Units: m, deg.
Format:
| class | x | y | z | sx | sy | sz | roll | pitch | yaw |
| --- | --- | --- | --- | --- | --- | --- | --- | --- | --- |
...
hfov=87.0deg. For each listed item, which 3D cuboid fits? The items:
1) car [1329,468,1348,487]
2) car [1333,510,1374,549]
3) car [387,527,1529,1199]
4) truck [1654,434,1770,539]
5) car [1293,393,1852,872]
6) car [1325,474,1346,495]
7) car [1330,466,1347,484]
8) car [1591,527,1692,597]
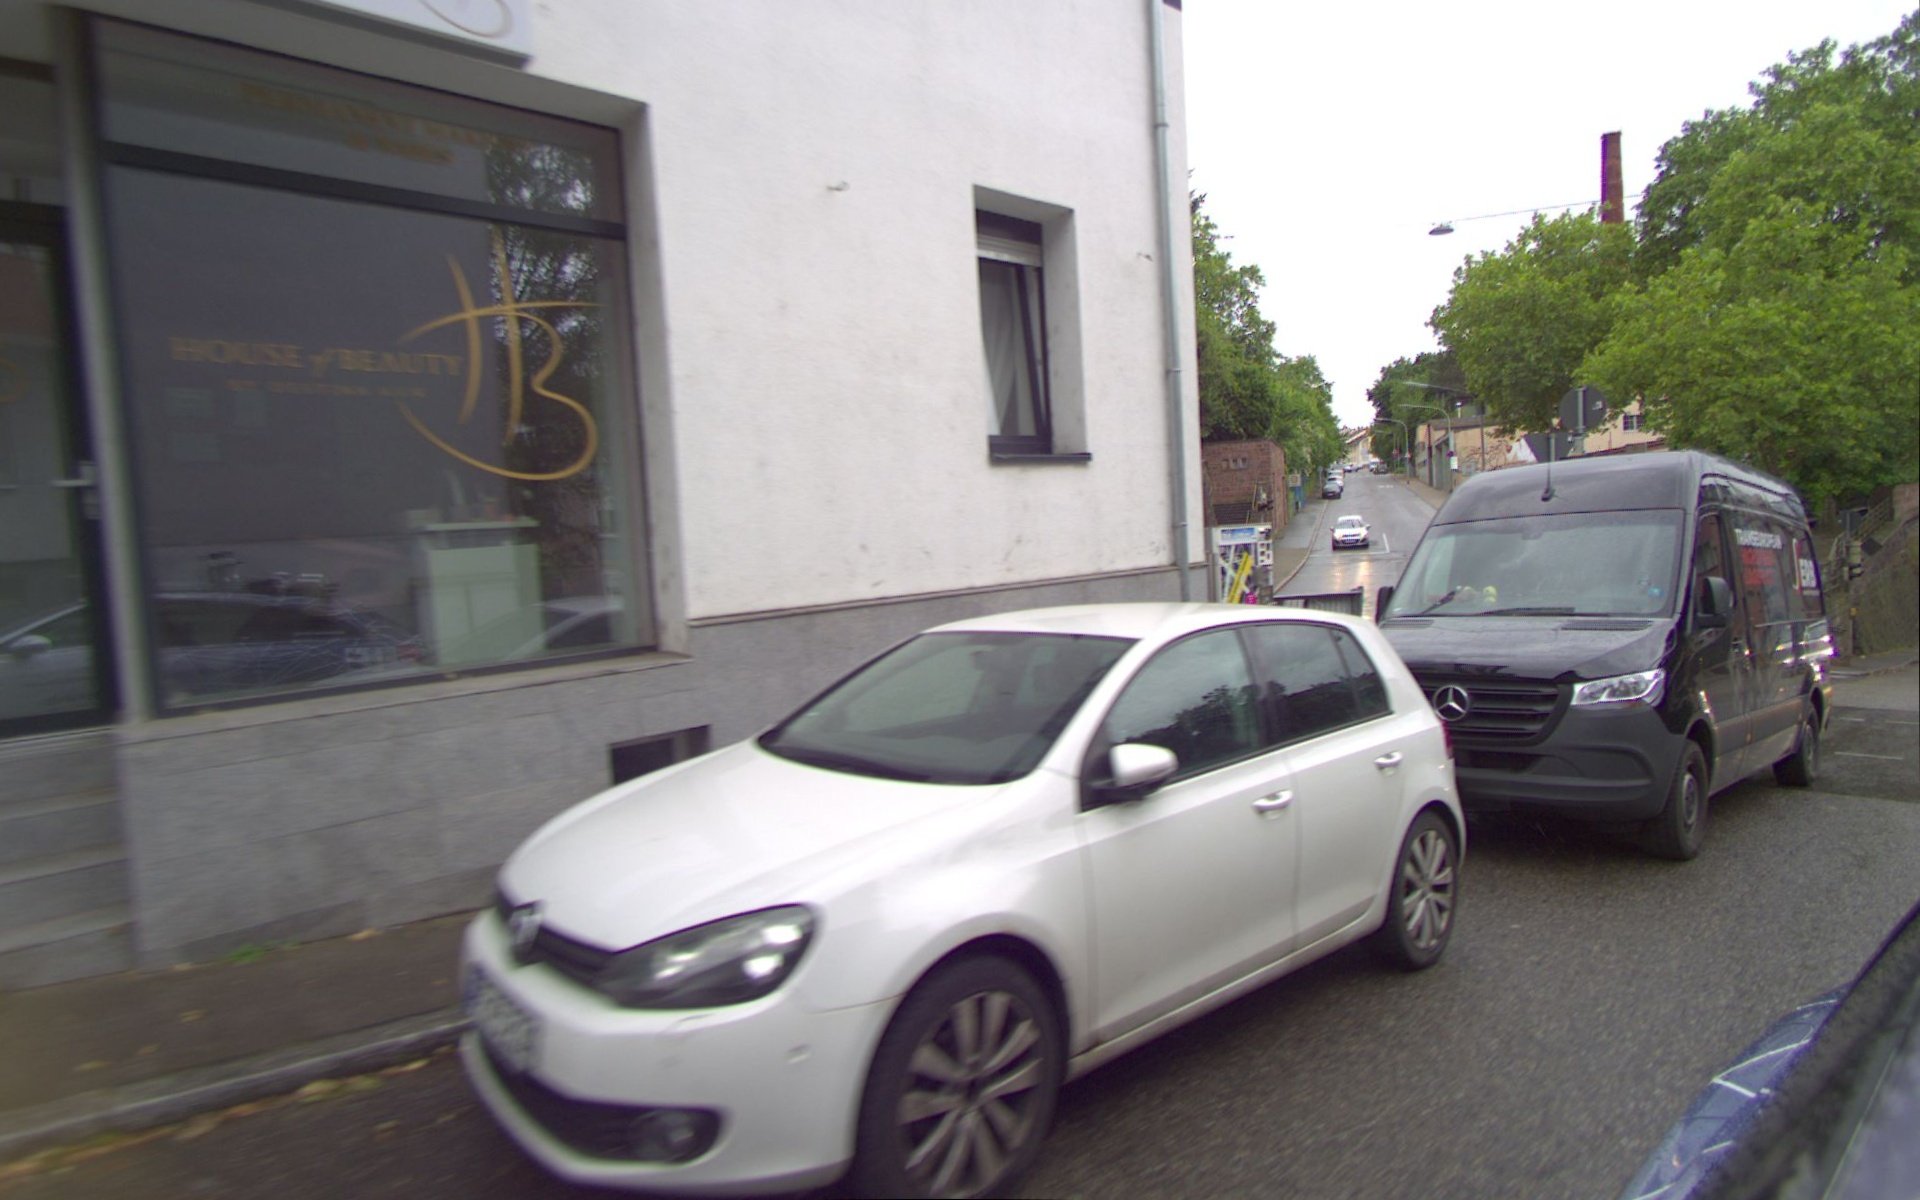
| class | x | y | z | sx | sy | sz | roll | pitch | yaw |
| --- | --- | --- | --- | --- | --- | --- | --- | --- | --- |
| car | 41.182 | -13.311 | 109.982 | 1.714 | 1.656 | 3.979 | -3 | 9 | 23 |
| car | 19.678 | -3.545 | 50.532 | 1.804 | 1.535 | 3.978 | -2 | 8 | 22 |
| car | 0.344 | 0.631 | 4.001 | 4.261 | 1.531 | 1.997 | 0 | 0 | -41 |
| truck | 32.070 | -4.976 | 42.951 | 2.747 | 3.343 | 11.081 | 3 | 12 | 42 |
| car | 5.035 | 0.082 | 7.808 | 5.736 | 2.444 | 1.997 | -2 | 1 | -41 |
| car | 35.839 | -11.047 | 96.569 | 1.714 | 1.656 | 3.979 | -3 | 9 | 23 |
| car | 45.155 | -14.921 | 120.723 | 1.714 | 1.656 | 3.979 | -3 | 9 | 23 |
| car | 20.471 | -1.172 | 30.316 | 4.284 | 1.509 | 1.632 | -12 | 7 | -44 |
